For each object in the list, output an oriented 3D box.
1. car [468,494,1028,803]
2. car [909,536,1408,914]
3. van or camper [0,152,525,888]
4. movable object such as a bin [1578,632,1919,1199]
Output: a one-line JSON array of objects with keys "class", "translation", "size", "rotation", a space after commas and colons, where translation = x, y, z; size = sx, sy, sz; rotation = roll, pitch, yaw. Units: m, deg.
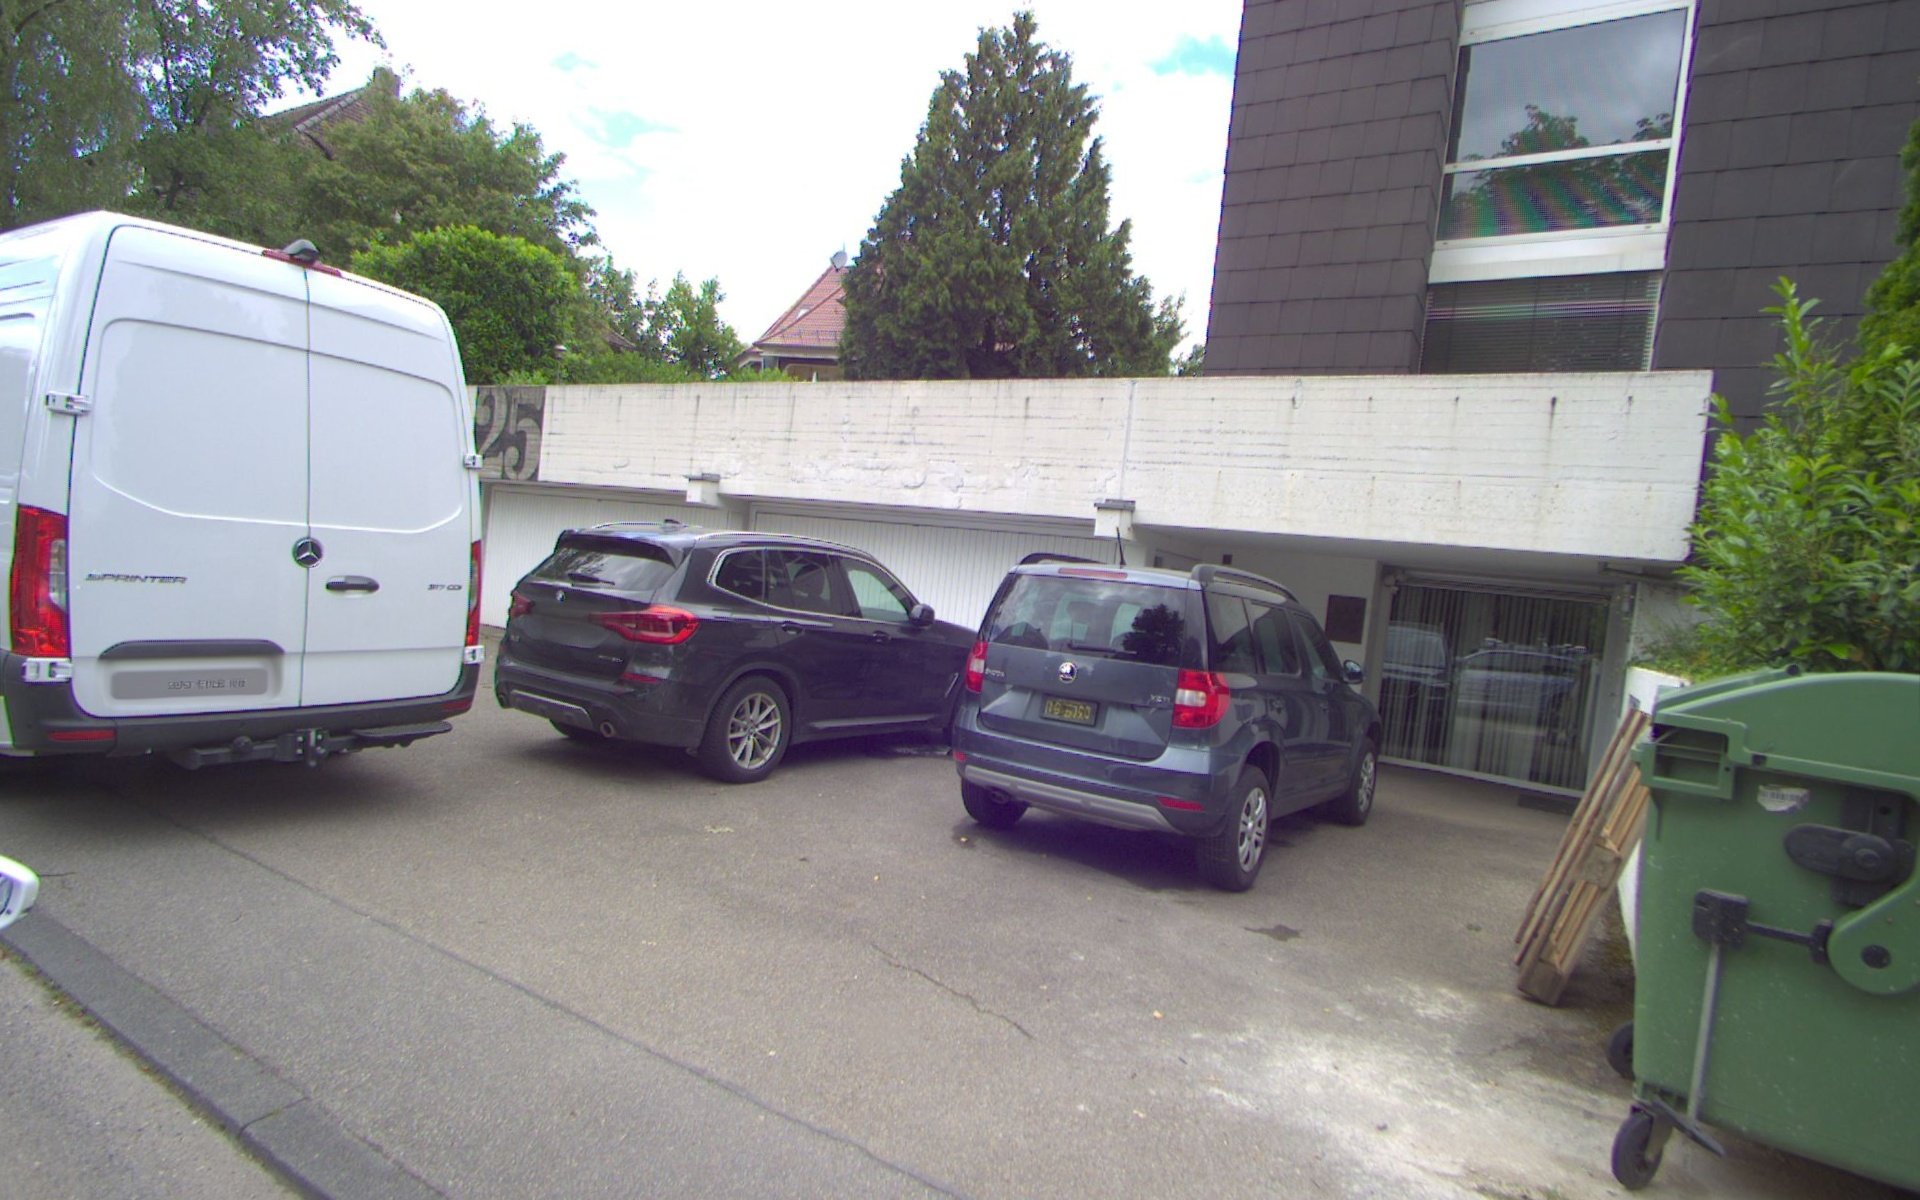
[{"class": "car", "translation": [-1.296, 0.321, 7.976], "size": [1.668, 1.696, 4.383], "rotation": [6, 1, 32]}, {"class": "car", "translation": [1.595, 0.639, 6.736], "size": [1.717, 1.673, 3.899], "rotation": [6, 1, 35]}, {"class": "van or camper", "translation": [-5.598, -0.544, 6.188], "size": [6.436, 2.662, 1.990], "rotation": [6, 4, 32]}, {"class": "movable object such as a bin", "translation": [2.519, 0.900, 2.917], "size": [1.098, 1.469, 1.405], "rotation": [6, 1, 32]}]
